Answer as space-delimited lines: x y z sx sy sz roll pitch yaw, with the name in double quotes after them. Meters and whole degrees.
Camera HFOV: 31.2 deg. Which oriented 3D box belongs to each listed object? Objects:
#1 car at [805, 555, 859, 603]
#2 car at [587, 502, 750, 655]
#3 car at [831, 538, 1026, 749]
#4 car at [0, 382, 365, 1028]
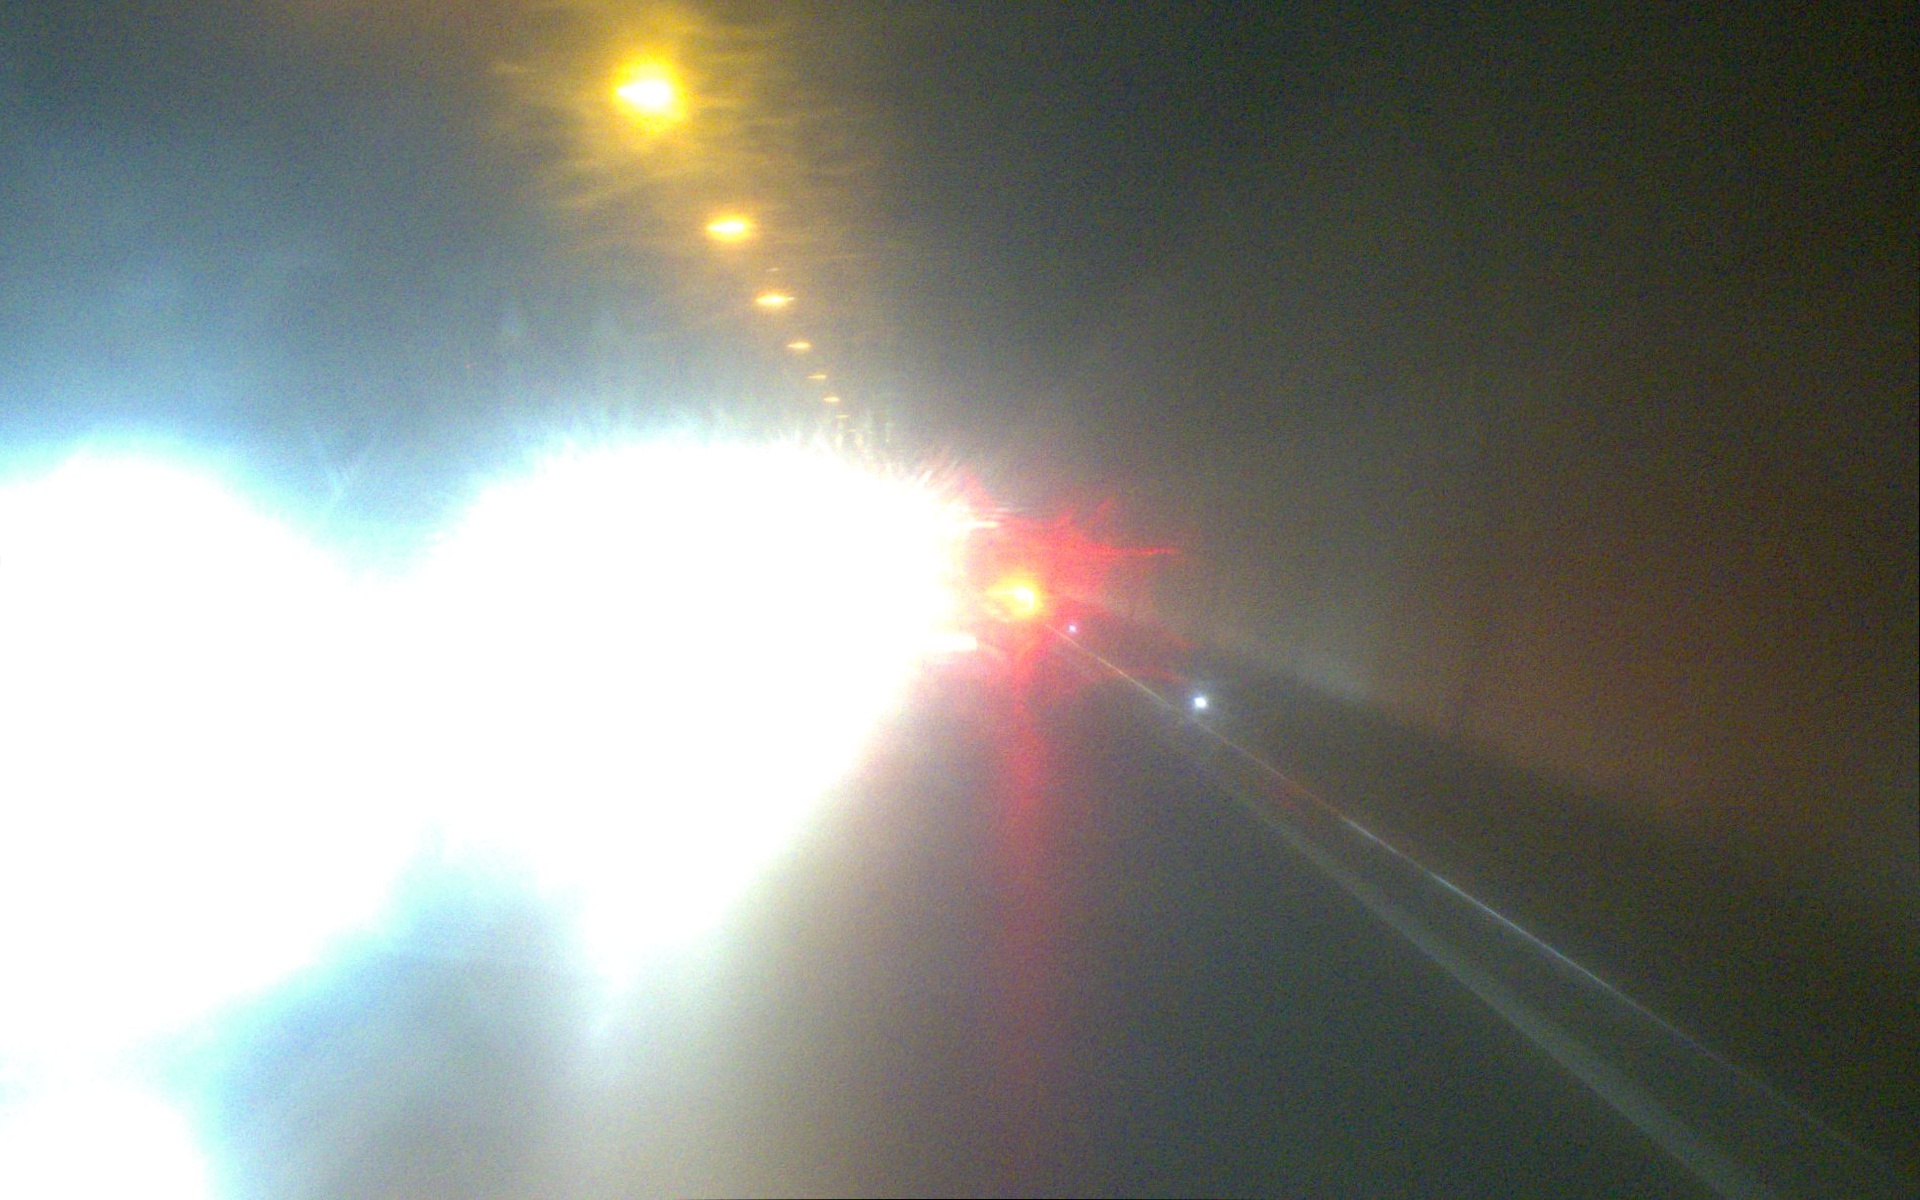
-4.264 -0.712 114.886 1.635 1.529 3.646 -1 1 0 "car"
-3.820 -0.328 45.743 1.761 1.893 4.608 -1 1 0 "car"
-0.272 0.335 31.462 1.635 1.752 4.146 -1 1 0 "car"
-3.476 0.267 12.389 1.841 1.893 4.608 -1 1 0 "car"
